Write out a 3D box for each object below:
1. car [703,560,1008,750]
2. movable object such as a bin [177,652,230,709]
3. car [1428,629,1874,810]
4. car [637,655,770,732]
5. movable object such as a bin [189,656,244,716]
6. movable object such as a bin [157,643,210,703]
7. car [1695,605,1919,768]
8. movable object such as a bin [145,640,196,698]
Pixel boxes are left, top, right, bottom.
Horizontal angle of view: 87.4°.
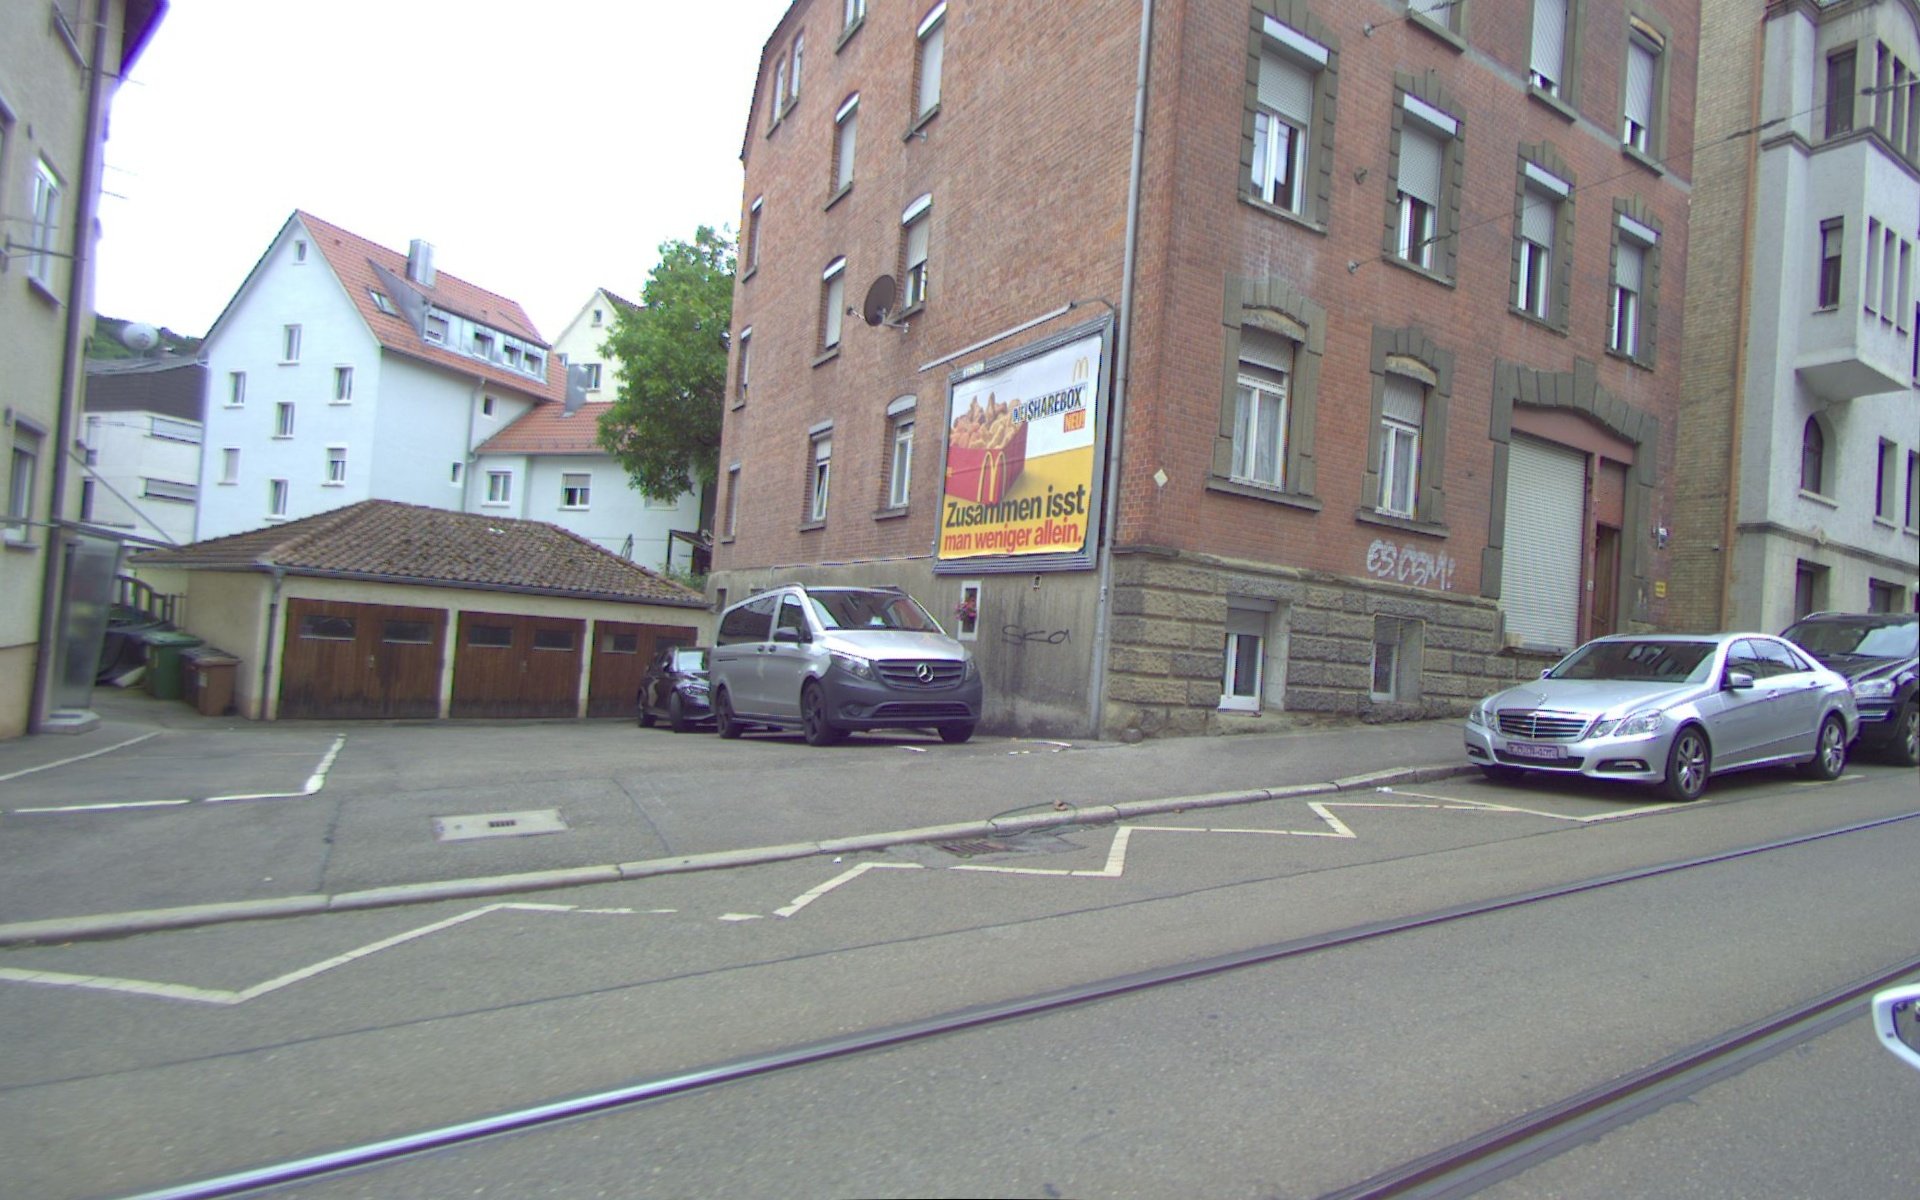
[{"bbox_3d":[-1.584,0.793,12.481,1.917,1.841,5.155,2,-6,-29],"label":"car"},{"bbox_3d":[-12.811,1.361,17.014,0.487,0.909,0.541,2,-4,38],"label":"movable object such as a bin"},{"bbox_3d":[7.028,1.036,10.089,4.782,1.448,1.819,1,-2,-30],"label":"car"},{"bbox_3d":[-4.495,1.627,17.307,1.491,1.160,3.596,2,-6,-27],"label":"car"},{"bbox_3d":[-12.097,1.401,16.352,0.487,0.909,0.541,2,-4,38],"label":"movable object such as a bin"},{"bbox_3d":[-13.512,1.271,17.478,0.487,0.987,0.541,2,-4,38],"label":"movable object such as a bin"},{"bbox_3d":[11.600,1.003,12.789,4.855,1.741,1.819,1,-2,-30],"label":"car"},{"bbox_3d":[-14.048,1.231,17.876,0.487,0.987,0.541,2,-4,38],"label":"movable object such as a bin"}]
